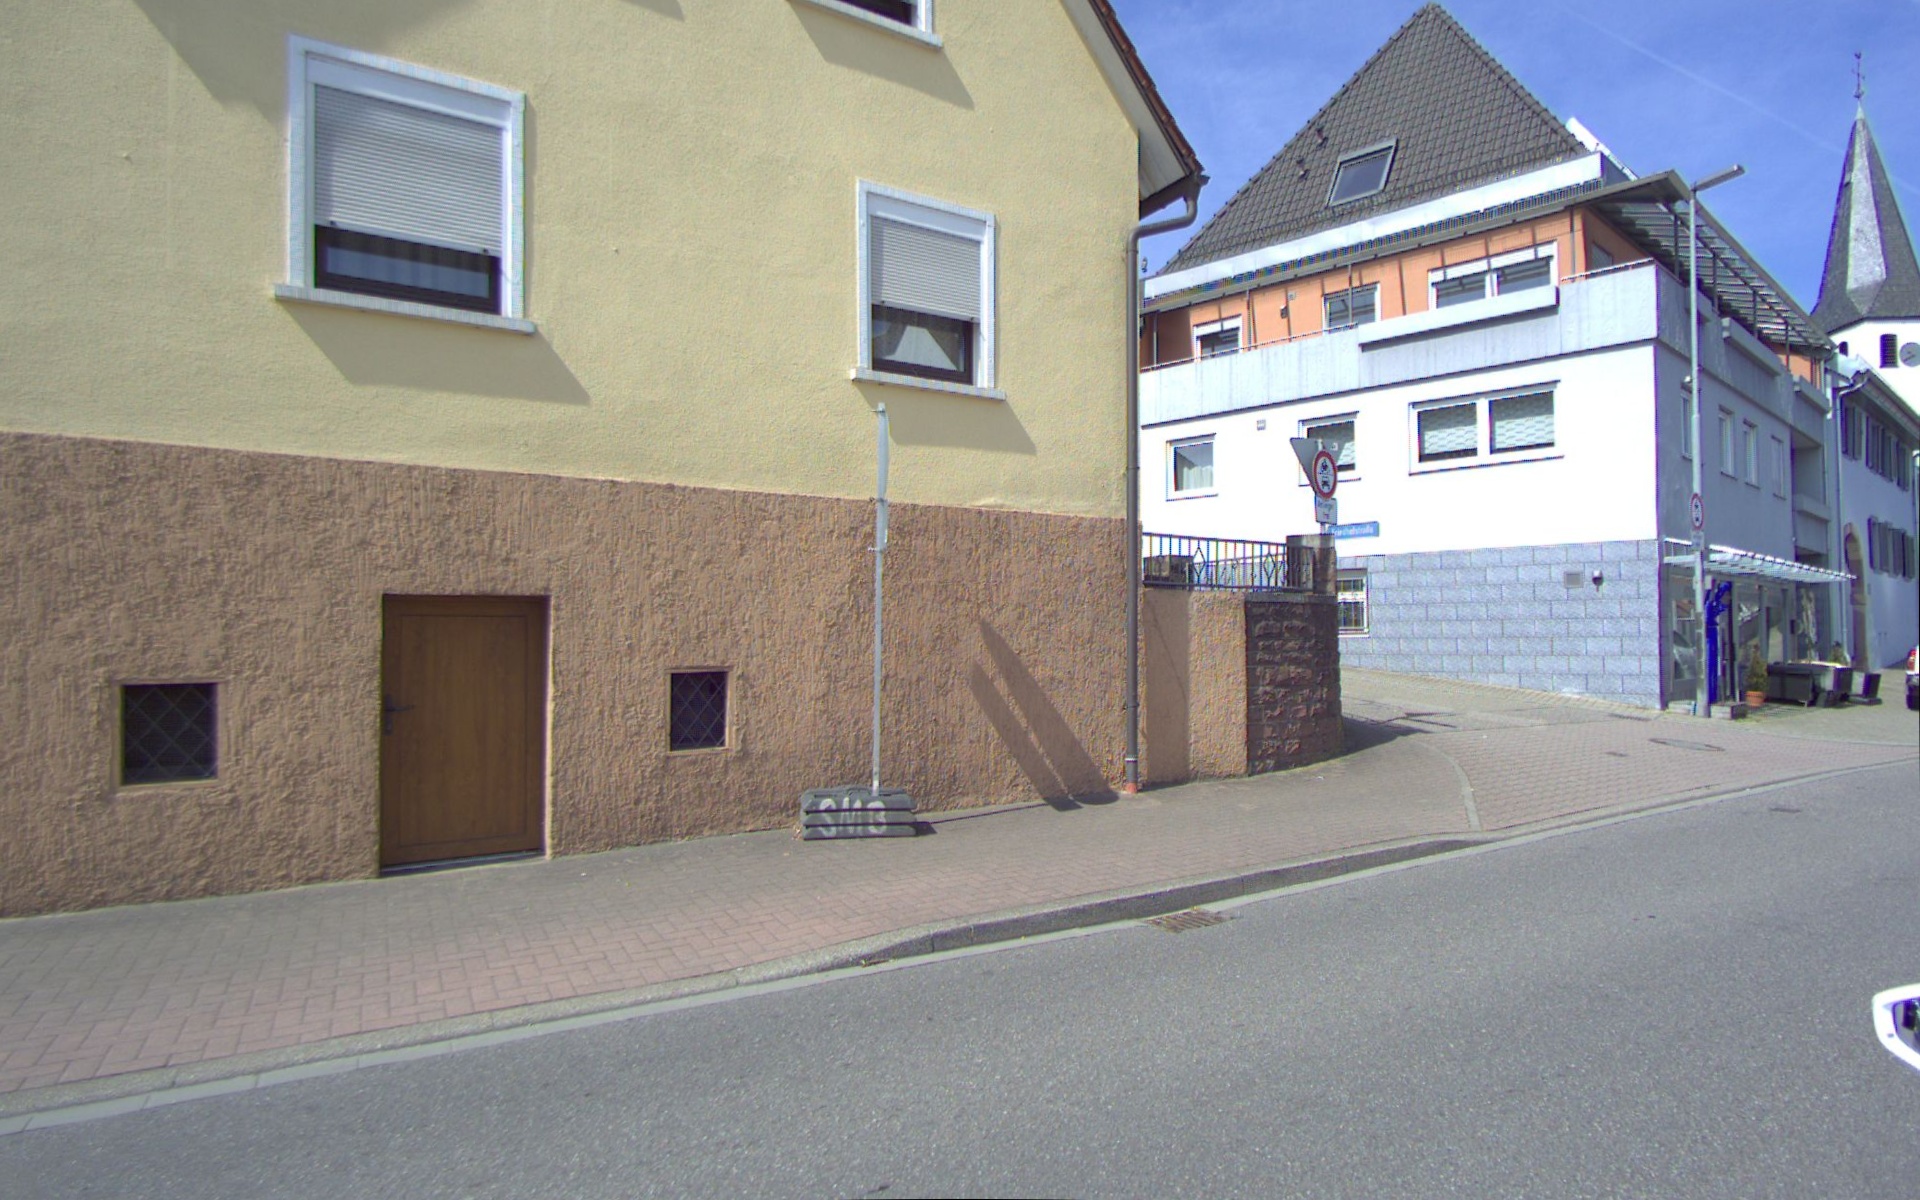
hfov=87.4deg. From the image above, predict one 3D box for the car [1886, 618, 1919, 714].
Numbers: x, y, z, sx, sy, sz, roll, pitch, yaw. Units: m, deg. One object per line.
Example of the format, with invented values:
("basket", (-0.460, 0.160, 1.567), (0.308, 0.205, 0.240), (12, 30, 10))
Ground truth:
("car", (20.872, 1.359, 20.498), (5.233, 1.822, 1.792), (2, 1, -35))
